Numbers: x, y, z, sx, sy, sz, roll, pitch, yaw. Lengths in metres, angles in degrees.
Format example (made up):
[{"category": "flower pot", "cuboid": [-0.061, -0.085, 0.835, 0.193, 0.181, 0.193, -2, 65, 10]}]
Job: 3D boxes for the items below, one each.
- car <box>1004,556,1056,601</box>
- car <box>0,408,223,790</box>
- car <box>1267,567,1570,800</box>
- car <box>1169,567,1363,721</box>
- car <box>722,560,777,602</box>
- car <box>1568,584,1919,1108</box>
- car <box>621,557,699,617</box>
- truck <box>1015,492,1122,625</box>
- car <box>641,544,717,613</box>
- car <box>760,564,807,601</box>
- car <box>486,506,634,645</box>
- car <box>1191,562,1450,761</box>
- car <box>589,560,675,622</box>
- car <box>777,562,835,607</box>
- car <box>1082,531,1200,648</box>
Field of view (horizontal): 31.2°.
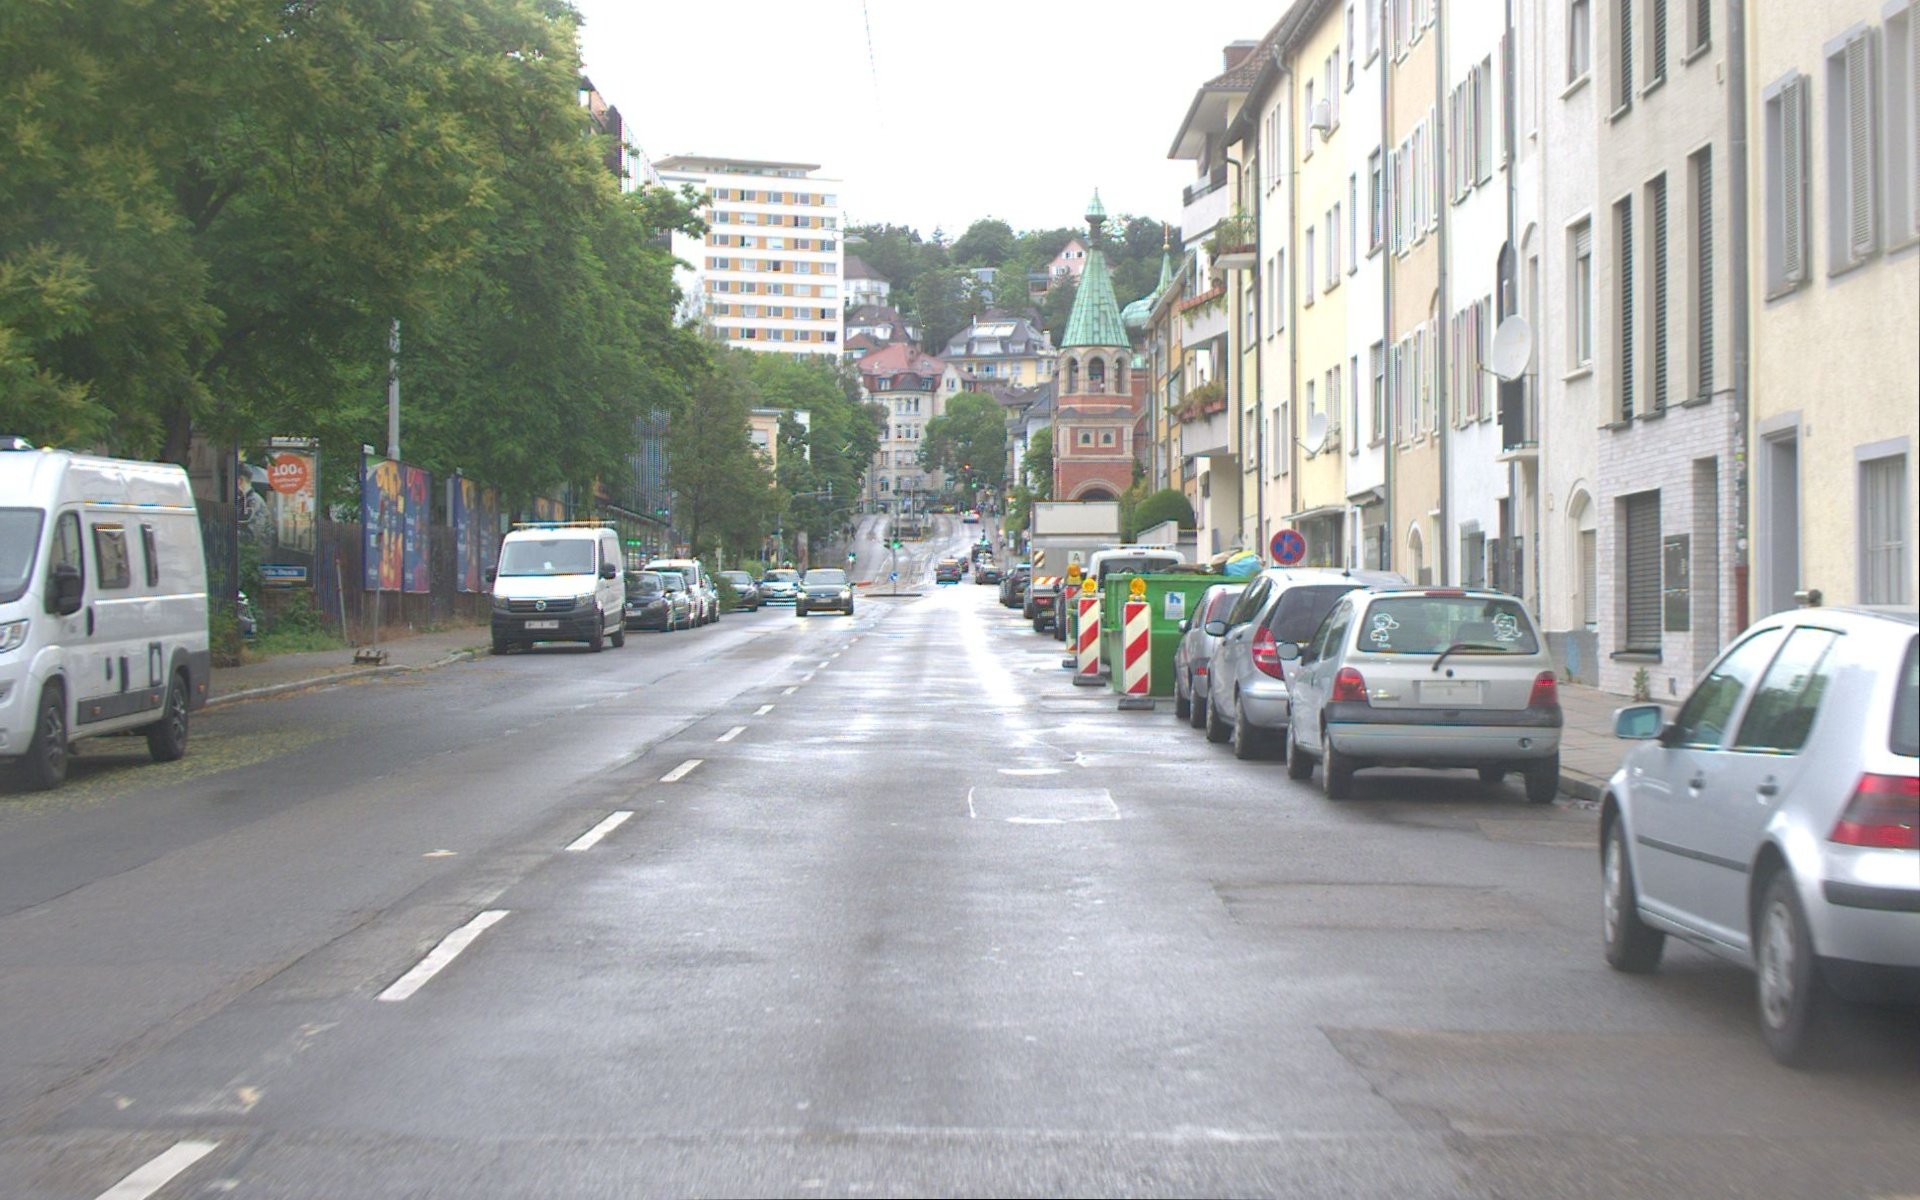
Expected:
[{"category": "car", "cuboid": [2.645, -0.840, 131.010, 1.817, 1.647, 4.076, 1, 1, 0]}, {"category": "car", "cuboid": [-7.461, -0.035, 26.411, 2.230, 2.570, 6.538, -2, 1, -1]}, {"category": "car", "cuboid": [3.176, 0.532, 24.438, 1.558, 1.449, 3.760, 1, 1, -1]}, {"category": "car", "cuboid": [3.089, 0.410, 35.321, 1.626, 1.406, 3.842, 1, 1, 0]}, {"category": "car", "cuboid": [-7.399, -0.663, 121.202, 1.803, 1.445, 4.658, -1, 0, -2]}, {"category": "car", "cuboid": [3.287, 0.720, 11.848, 1.629, 1.449, 3.760, 1, 1, -1]}, {"category": "car", "cuboid": [-7.595, -0.322, 87.289, 1.682, 1.457, 4.277, -1, 0, -1]}, {"category": "truck", "cuboid": [2.637, -1.011, 85.286, 2.469, 3.161, 7.036, 0, 0, 0]}, {"category": "car", "cuboid": [-7.515, -0.577, 92.317, 1.723, 1.794, 4.344, -1, 0, -1]}, {"category": "car", "cuboid": [-7.000, -0.693, 136.825, 1.709, 1.445, 4.294, -1, 0, -1]}, {"category": "car", "cuboid": [-7.528, -0.493, 65.221, 2.012, 2.478, 5.983, -1, 1, 1]}, {"category": "car", "cuboid": [3.032, 0.474, 29.648, 1.716, 1.519, 4.000, 1, 1, -1]}, {"category": "car", "cuboid": [-7.662, -0.214, 80.513, 1.682, 1.394, 3.911, -1, 0, -1]}, {"category": "car", "cuboid": [-4.909, -0.511, 109.799, 1.805, 1.411, 4.384, 0, 1, -3]}, {"category": "car", "cuboid": [3.077, -0.212, 59.049, 1.817, 1.917, 4.239, -1, 1, 1]}]
